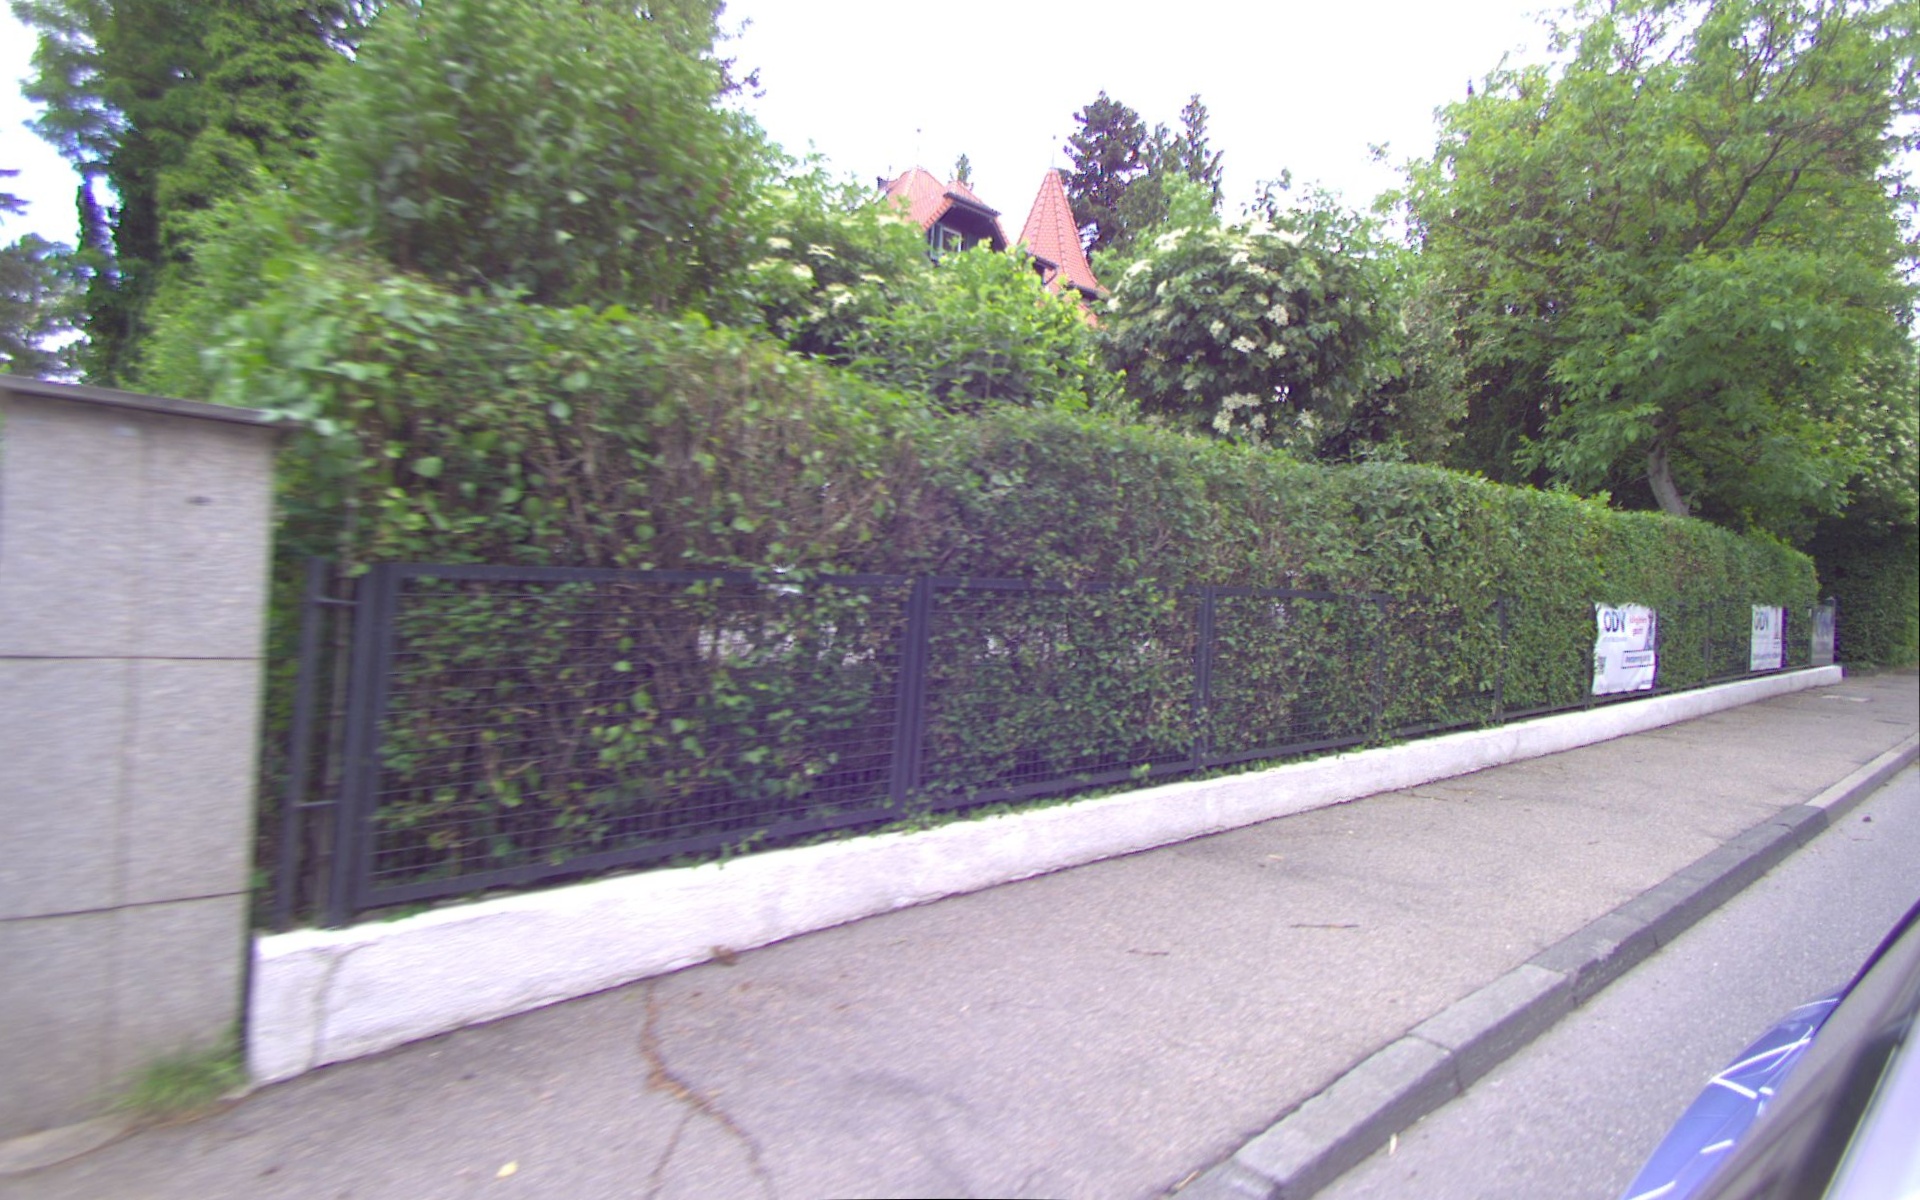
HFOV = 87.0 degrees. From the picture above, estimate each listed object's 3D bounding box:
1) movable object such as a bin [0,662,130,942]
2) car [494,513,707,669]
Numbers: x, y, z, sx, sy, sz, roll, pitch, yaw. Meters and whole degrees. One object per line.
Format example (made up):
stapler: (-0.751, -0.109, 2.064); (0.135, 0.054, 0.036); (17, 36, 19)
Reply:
movable object such as a bin: (-3.543, 0.730, 3.776); (0.592, 0.949, 0.467); (3, 1, -30)
car: (-4.194, -0.104, 11.875); (1.958, 1.482, 4.009); (1, 1, -20)
